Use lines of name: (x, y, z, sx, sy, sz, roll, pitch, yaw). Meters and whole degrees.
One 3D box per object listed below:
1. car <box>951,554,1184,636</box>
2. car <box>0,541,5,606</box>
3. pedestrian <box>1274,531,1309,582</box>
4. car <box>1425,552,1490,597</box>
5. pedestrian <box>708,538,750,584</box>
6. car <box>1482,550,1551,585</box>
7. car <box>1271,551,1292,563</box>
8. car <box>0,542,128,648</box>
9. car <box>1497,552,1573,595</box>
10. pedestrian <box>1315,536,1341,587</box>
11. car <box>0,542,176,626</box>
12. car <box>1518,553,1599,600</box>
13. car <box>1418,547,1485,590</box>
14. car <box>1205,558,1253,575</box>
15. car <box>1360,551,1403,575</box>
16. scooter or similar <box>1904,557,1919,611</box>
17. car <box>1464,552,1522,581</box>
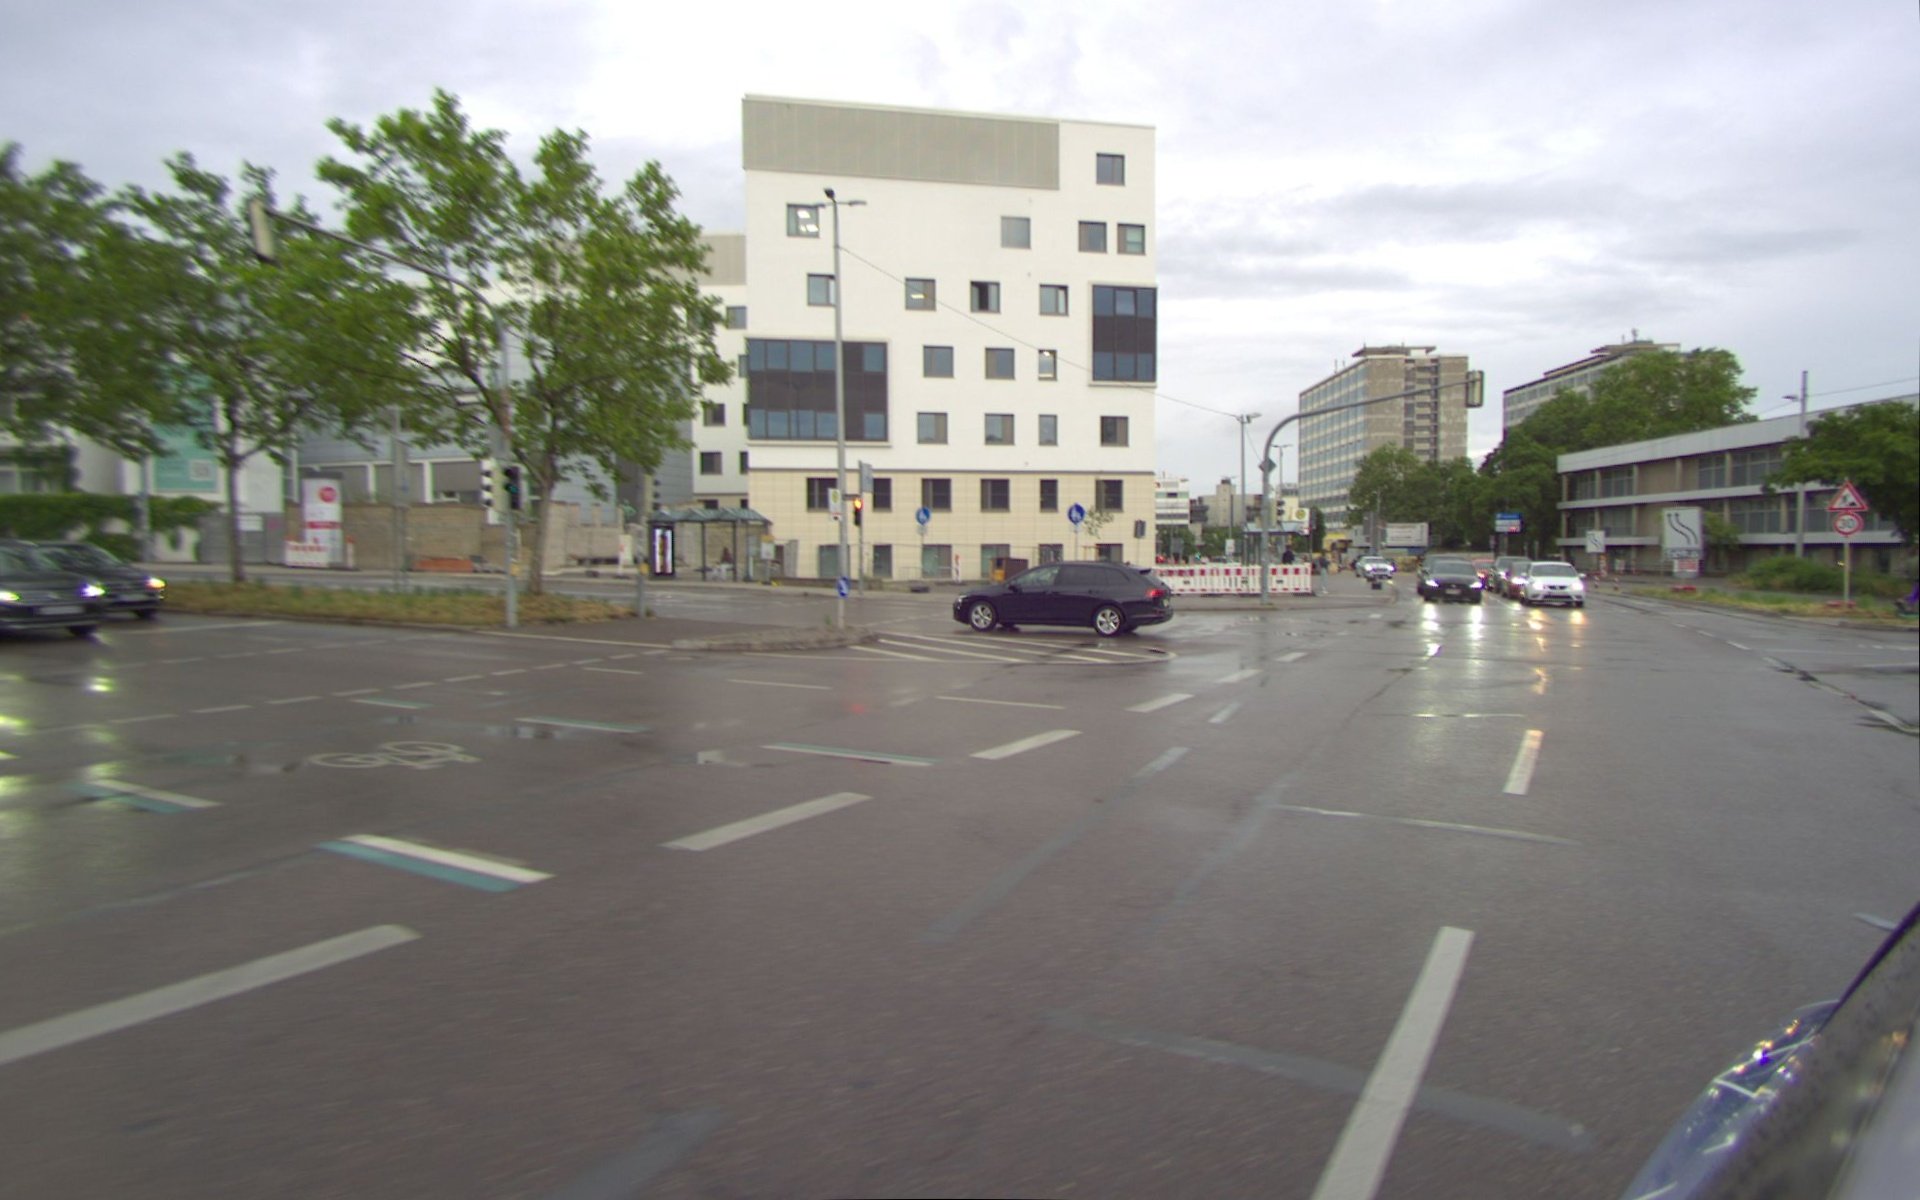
car: (2.193, -0.168, 20.622, 4.458, 1.484, 1.665, 2, 3, 21)
car: (-23.846, -0.594, 22.694, 3.944, 1.459, 1.786, 1, 3, 16)
pedestrian: (13.145, -1.706, 40.143, 0.988, 1.959, 0.952, -1, 0, -43)
car: (17.572, -0.900, 35.875, 1.777, 1.461, 3.970, 1, 1, 23)
pedestrian: (-8.950, -1.511, 39.214, 1.010, 1.741, 1.245, 0, 1, 36)
car: (25.461, -1.488, 46.432, 1.941, 1.556, 4.136, 1, 2, 18)
car: (47.591, -6.423, 149.982, 1.765, 1.726, 4.688, 1, 3, 2)
car: (-16.390, -0.162, 16.999, 4.224, 1.583, 1.862, 2, 4, 21)
car: (22.458, -1.072, 39.685, 1.944, 1.576, 4.497, 1, 2, 22)
pedestrian: (13.763, -1.418, 37.799, 0.815, 1.863, 0.945, 0, 0, 26)
car: (-18.461, -0.387, 20.748, 3.944, 1.604, 1.786, 1, 3, 16)
car: (19.880, -0.827, 33.769, 1.777, 1.461, 3.970, 1, 2, 23)
car: (20.141, -1.329, 41.642, 1.975, 1.685, 4.361, 1, 3, 19)
car: (25.909, -3.259, 97.670, 4.051, 1.576, 1.936, 2, 2, 44)
car: (30.975, -2.698, 74.490, 1.935, 1.722, 4.149, 1, 1, 9)
scooter or similar: (22.995, -0.387, 23.603, 1.295, 1.254, 0.590, 0, 0, 17)
car: (27.701, -1.715, 52.687, 1.941, 1.468, 4.136, 1, 1, 18)
